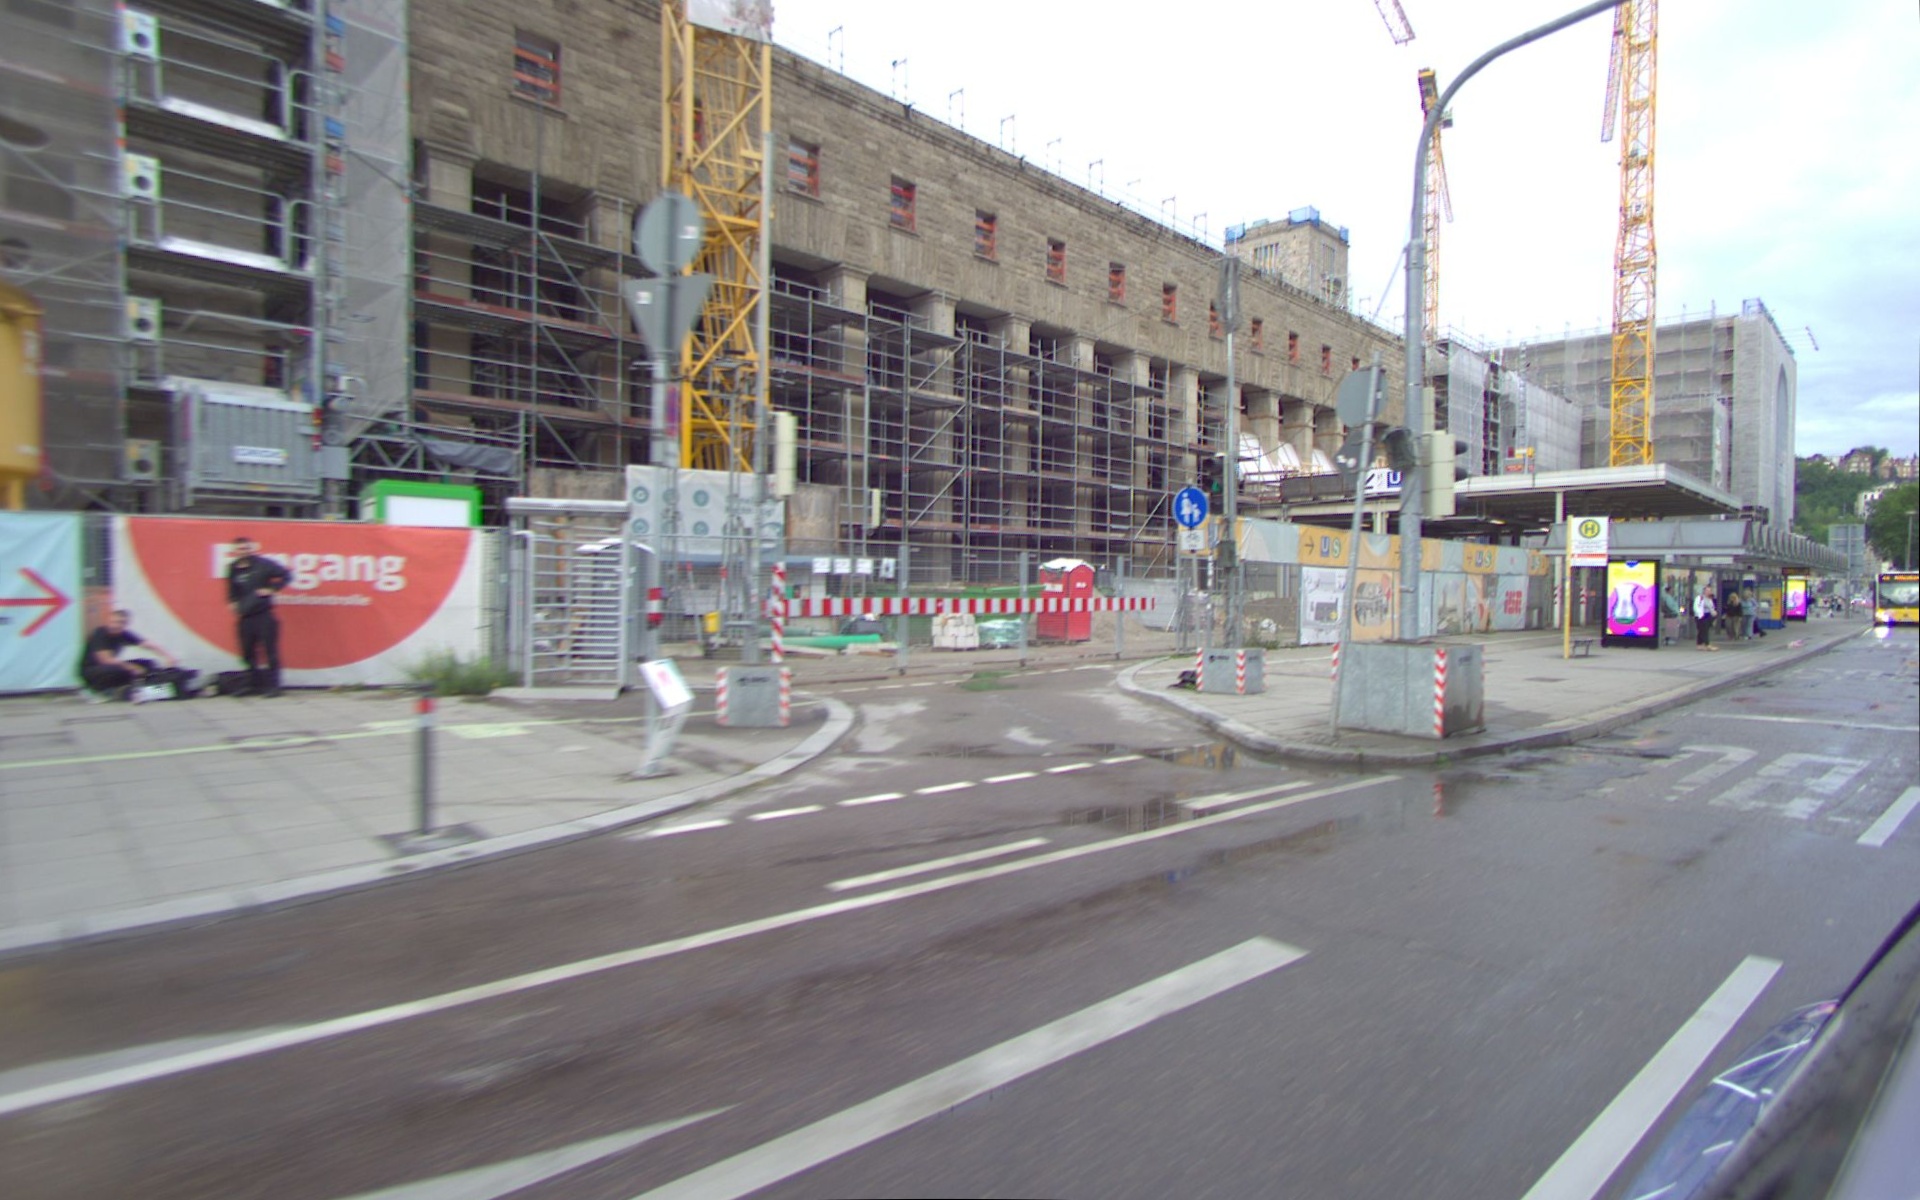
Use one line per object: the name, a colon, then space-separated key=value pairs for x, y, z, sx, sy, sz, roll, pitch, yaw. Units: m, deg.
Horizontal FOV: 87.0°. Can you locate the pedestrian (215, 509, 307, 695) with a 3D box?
pedestrian: x=-7.924 y=0.013 z=11.493 sx=0.619 sy=2.039 sz=0.576 roll=2 pitch=1 yaw=14

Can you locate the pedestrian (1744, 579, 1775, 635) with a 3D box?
pedestrian: x=27.033 y=0.225 z=34.226 sx=0.722 sy=1.846 sz=0.645 roll=1 pitch=1 yaw=-40

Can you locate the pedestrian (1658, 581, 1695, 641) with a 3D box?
pedestrian: x=20.878 y=0.313 z=29.501 sx=0.608 sy=1.714 sz=0.681 roll=1 pitch=1 yaw=-38

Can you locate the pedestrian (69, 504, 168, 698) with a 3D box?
pedestrian: x=-9.177 y=0.006 z=11.060 sx=0.614 sy=2.039 sz=0.642 roll=1 pitch=1 yaw=-19

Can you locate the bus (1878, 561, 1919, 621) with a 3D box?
bus: x=53.558 y=-0.468 z=56.620 sx=2.992 sy=3.177 sz=7.642 roll=2 pitch=1 yaw=44

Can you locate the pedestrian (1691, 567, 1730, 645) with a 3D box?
pedestrian: x=20.009 y=0.148 z=26.974 sx=0.732 sy=2.038 sz=0.637 roll=2 pitch=1 yaw=41

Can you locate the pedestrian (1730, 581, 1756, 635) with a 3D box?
pedestrian: x=25.720 y=0.258 z=33.243 sx=0.548 sy=1.714 sz=0.545 roll=1 pitch=1 yaw=-40
